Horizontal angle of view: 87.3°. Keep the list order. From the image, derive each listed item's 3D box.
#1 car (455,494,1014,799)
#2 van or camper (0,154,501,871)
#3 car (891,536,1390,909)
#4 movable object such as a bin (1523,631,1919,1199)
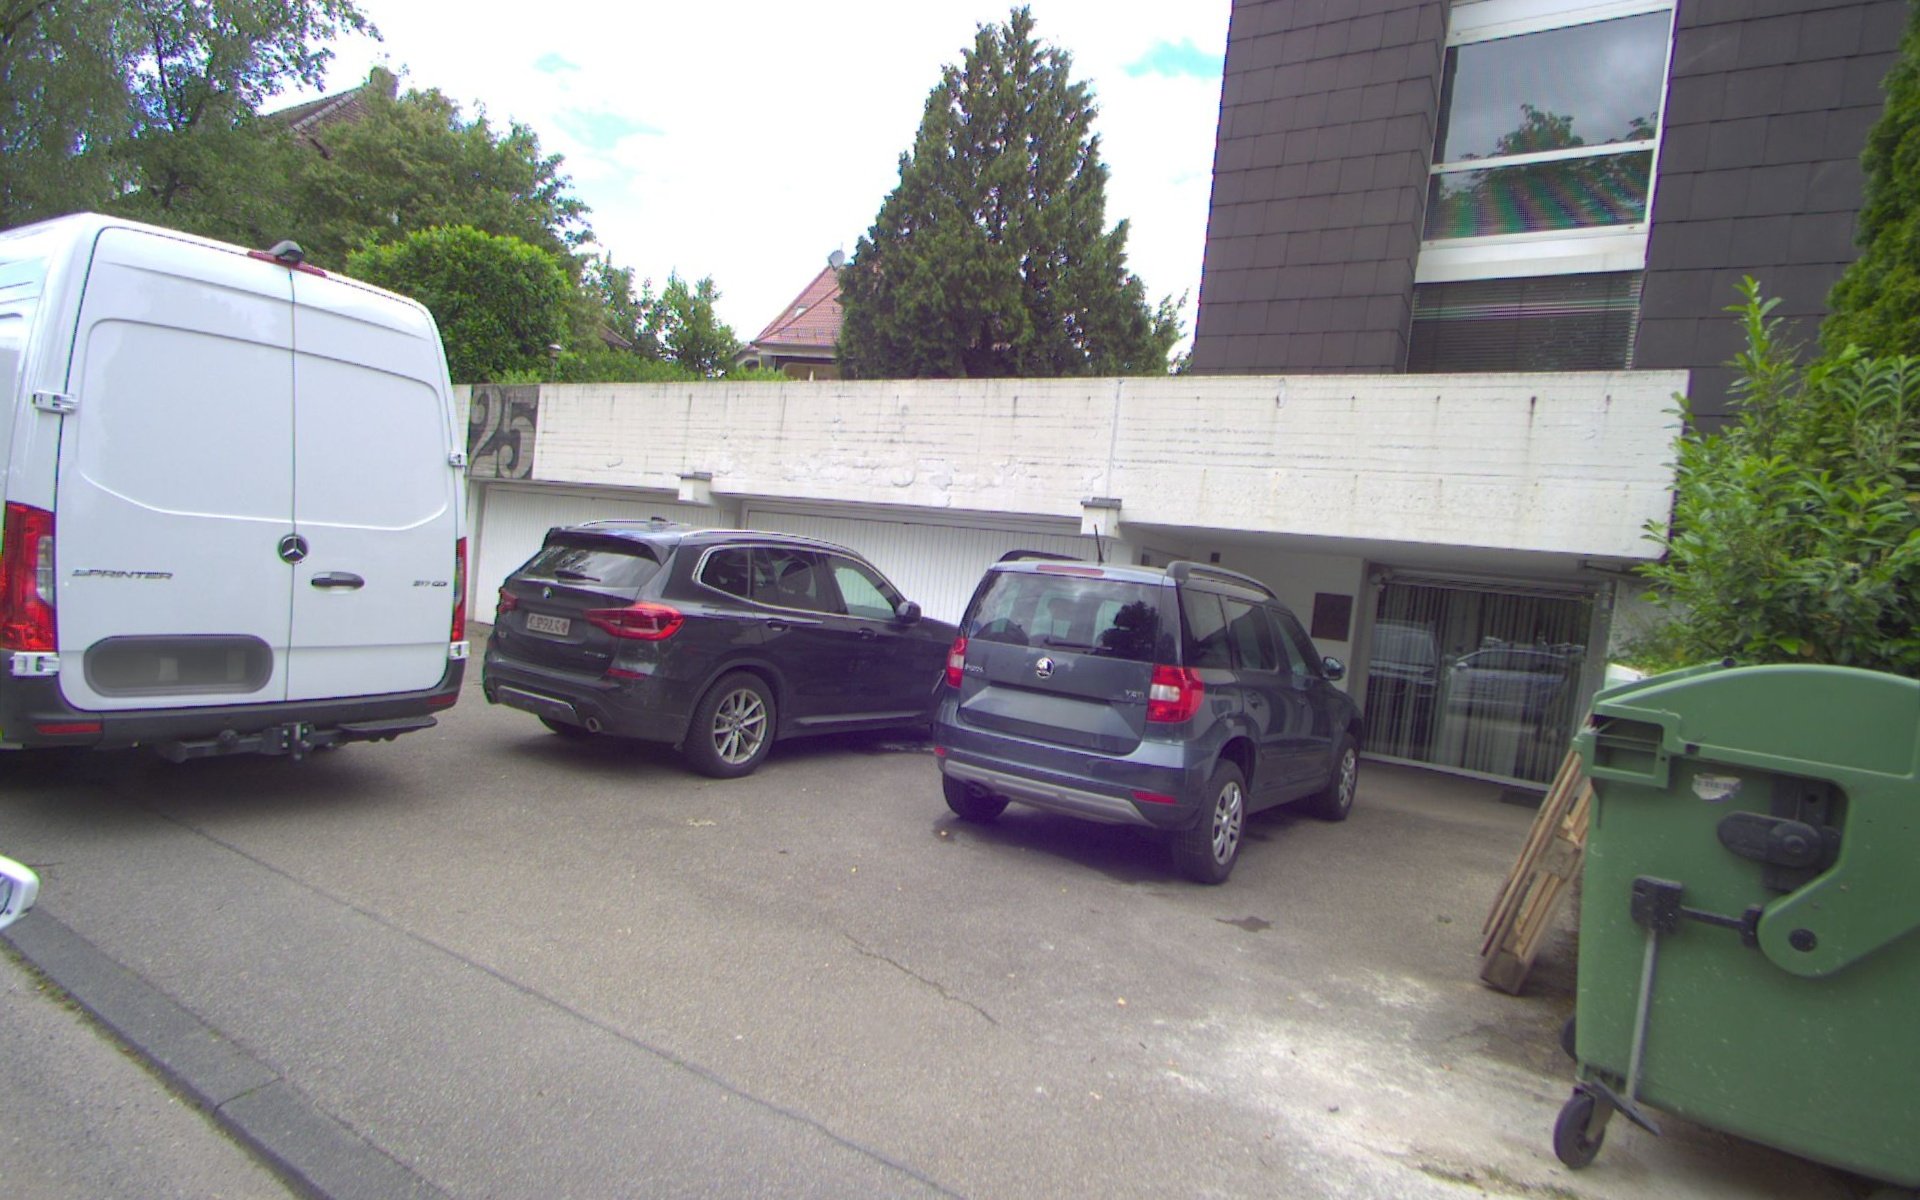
[{"bbox_3d":[-1.426,0.316,8.059,1.668,1.696,4.383,6,1,32],"label":"car"},{"bbox_3d":[-5.771,-0.582,6.287,6.436,2.662,1.990,6,4,32],"label":"van or camper"},{"bbox_3d":[1.486,0.639,6.806,1.717,1.673,3.899,6,1,35],"label":"car"},{"bbox_3d":[2.411,0.900,2.987,1.098,1.469,1.405,6,1,32],"label":"movable object such as a bin"}]
